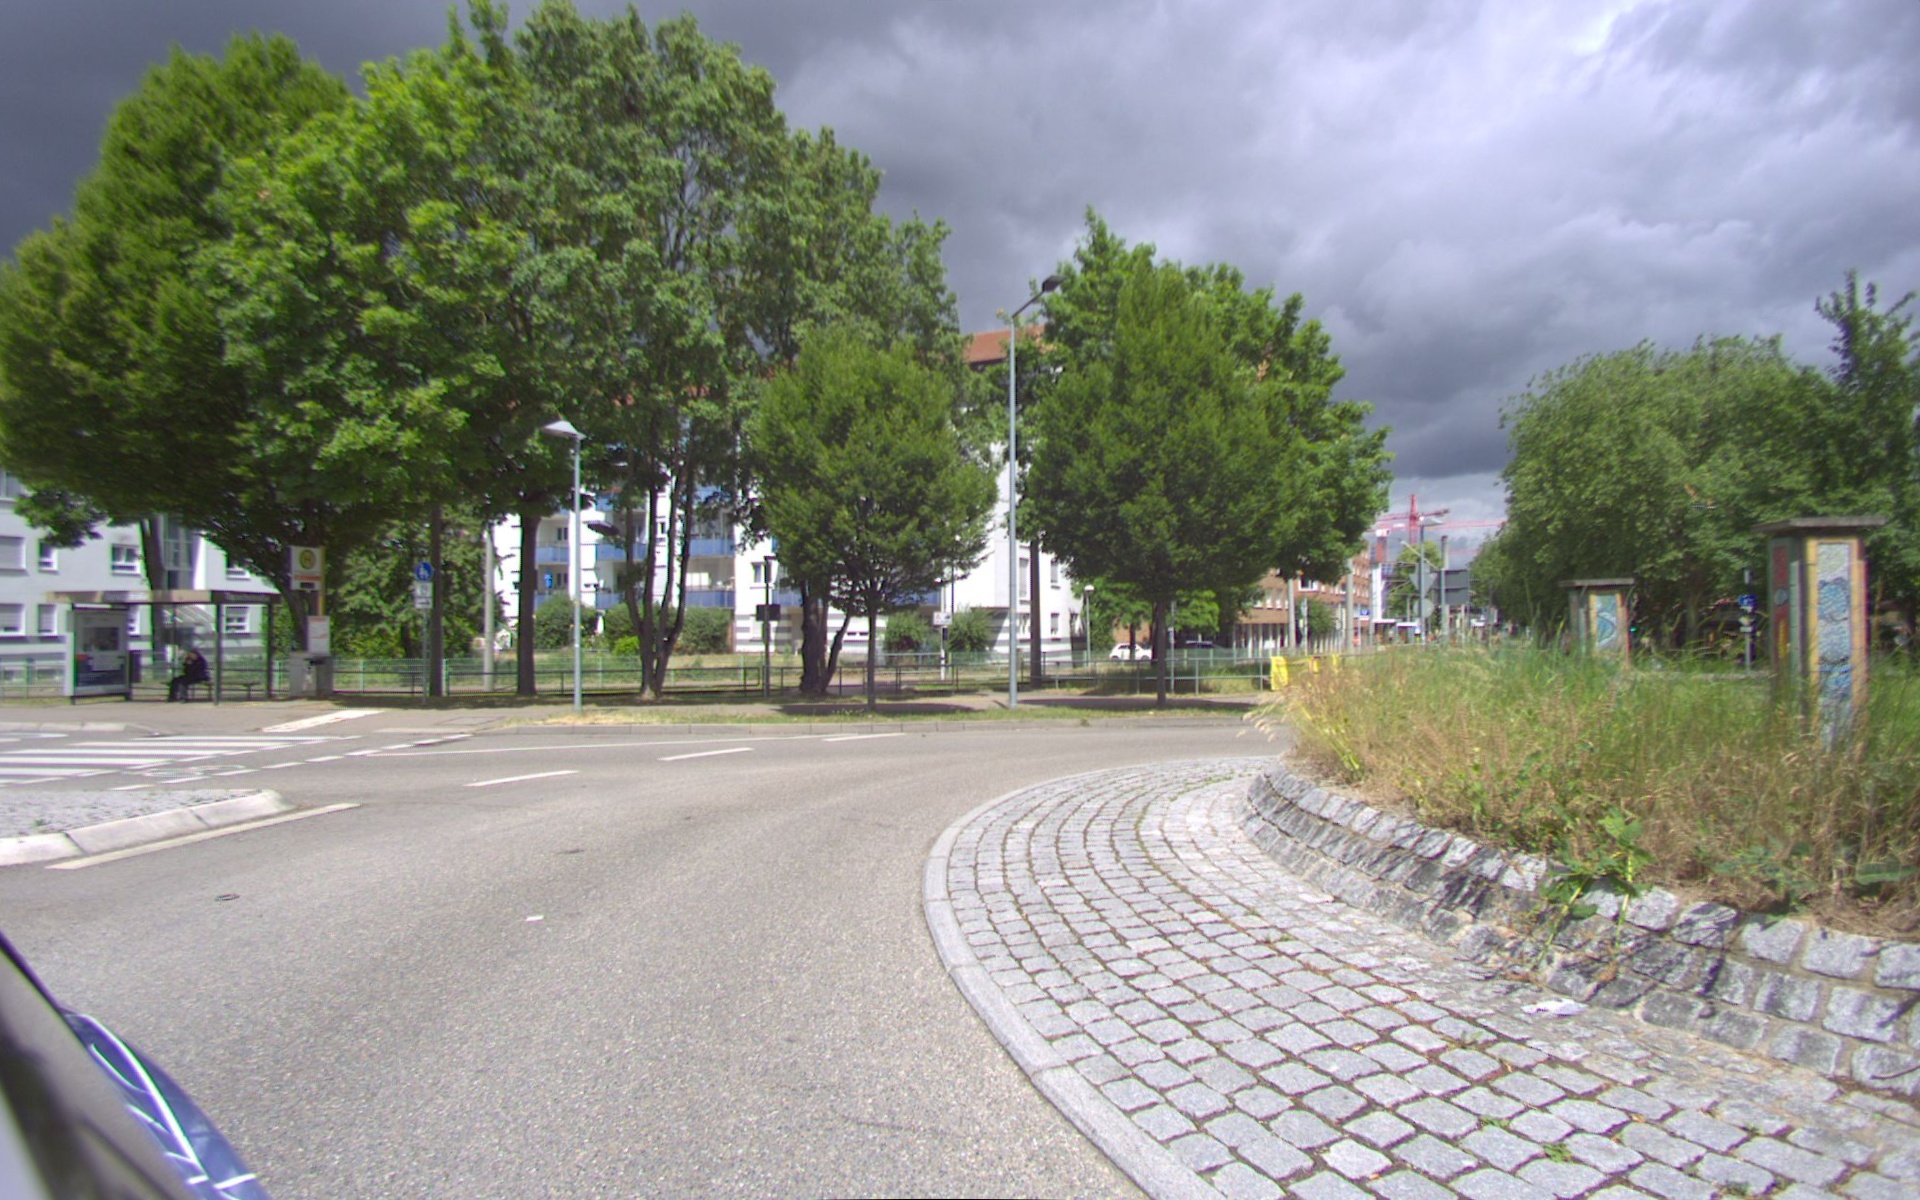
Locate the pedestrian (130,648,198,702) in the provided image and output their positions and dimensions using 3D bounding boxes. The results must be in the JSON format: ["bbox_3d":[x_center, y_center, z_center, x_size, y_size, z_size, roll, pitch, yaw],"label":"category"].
[{"bbox_3d":[-17.667,1.664,22.478,0.902,1.144,0.798,-1,-1,12],"label":"pedestrian"}]

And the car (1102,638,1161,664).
[{"bbox_3d":[12.772,3.778,75.343,3.975,1.822,1.984,-1,0,24],"label":"car"}]
